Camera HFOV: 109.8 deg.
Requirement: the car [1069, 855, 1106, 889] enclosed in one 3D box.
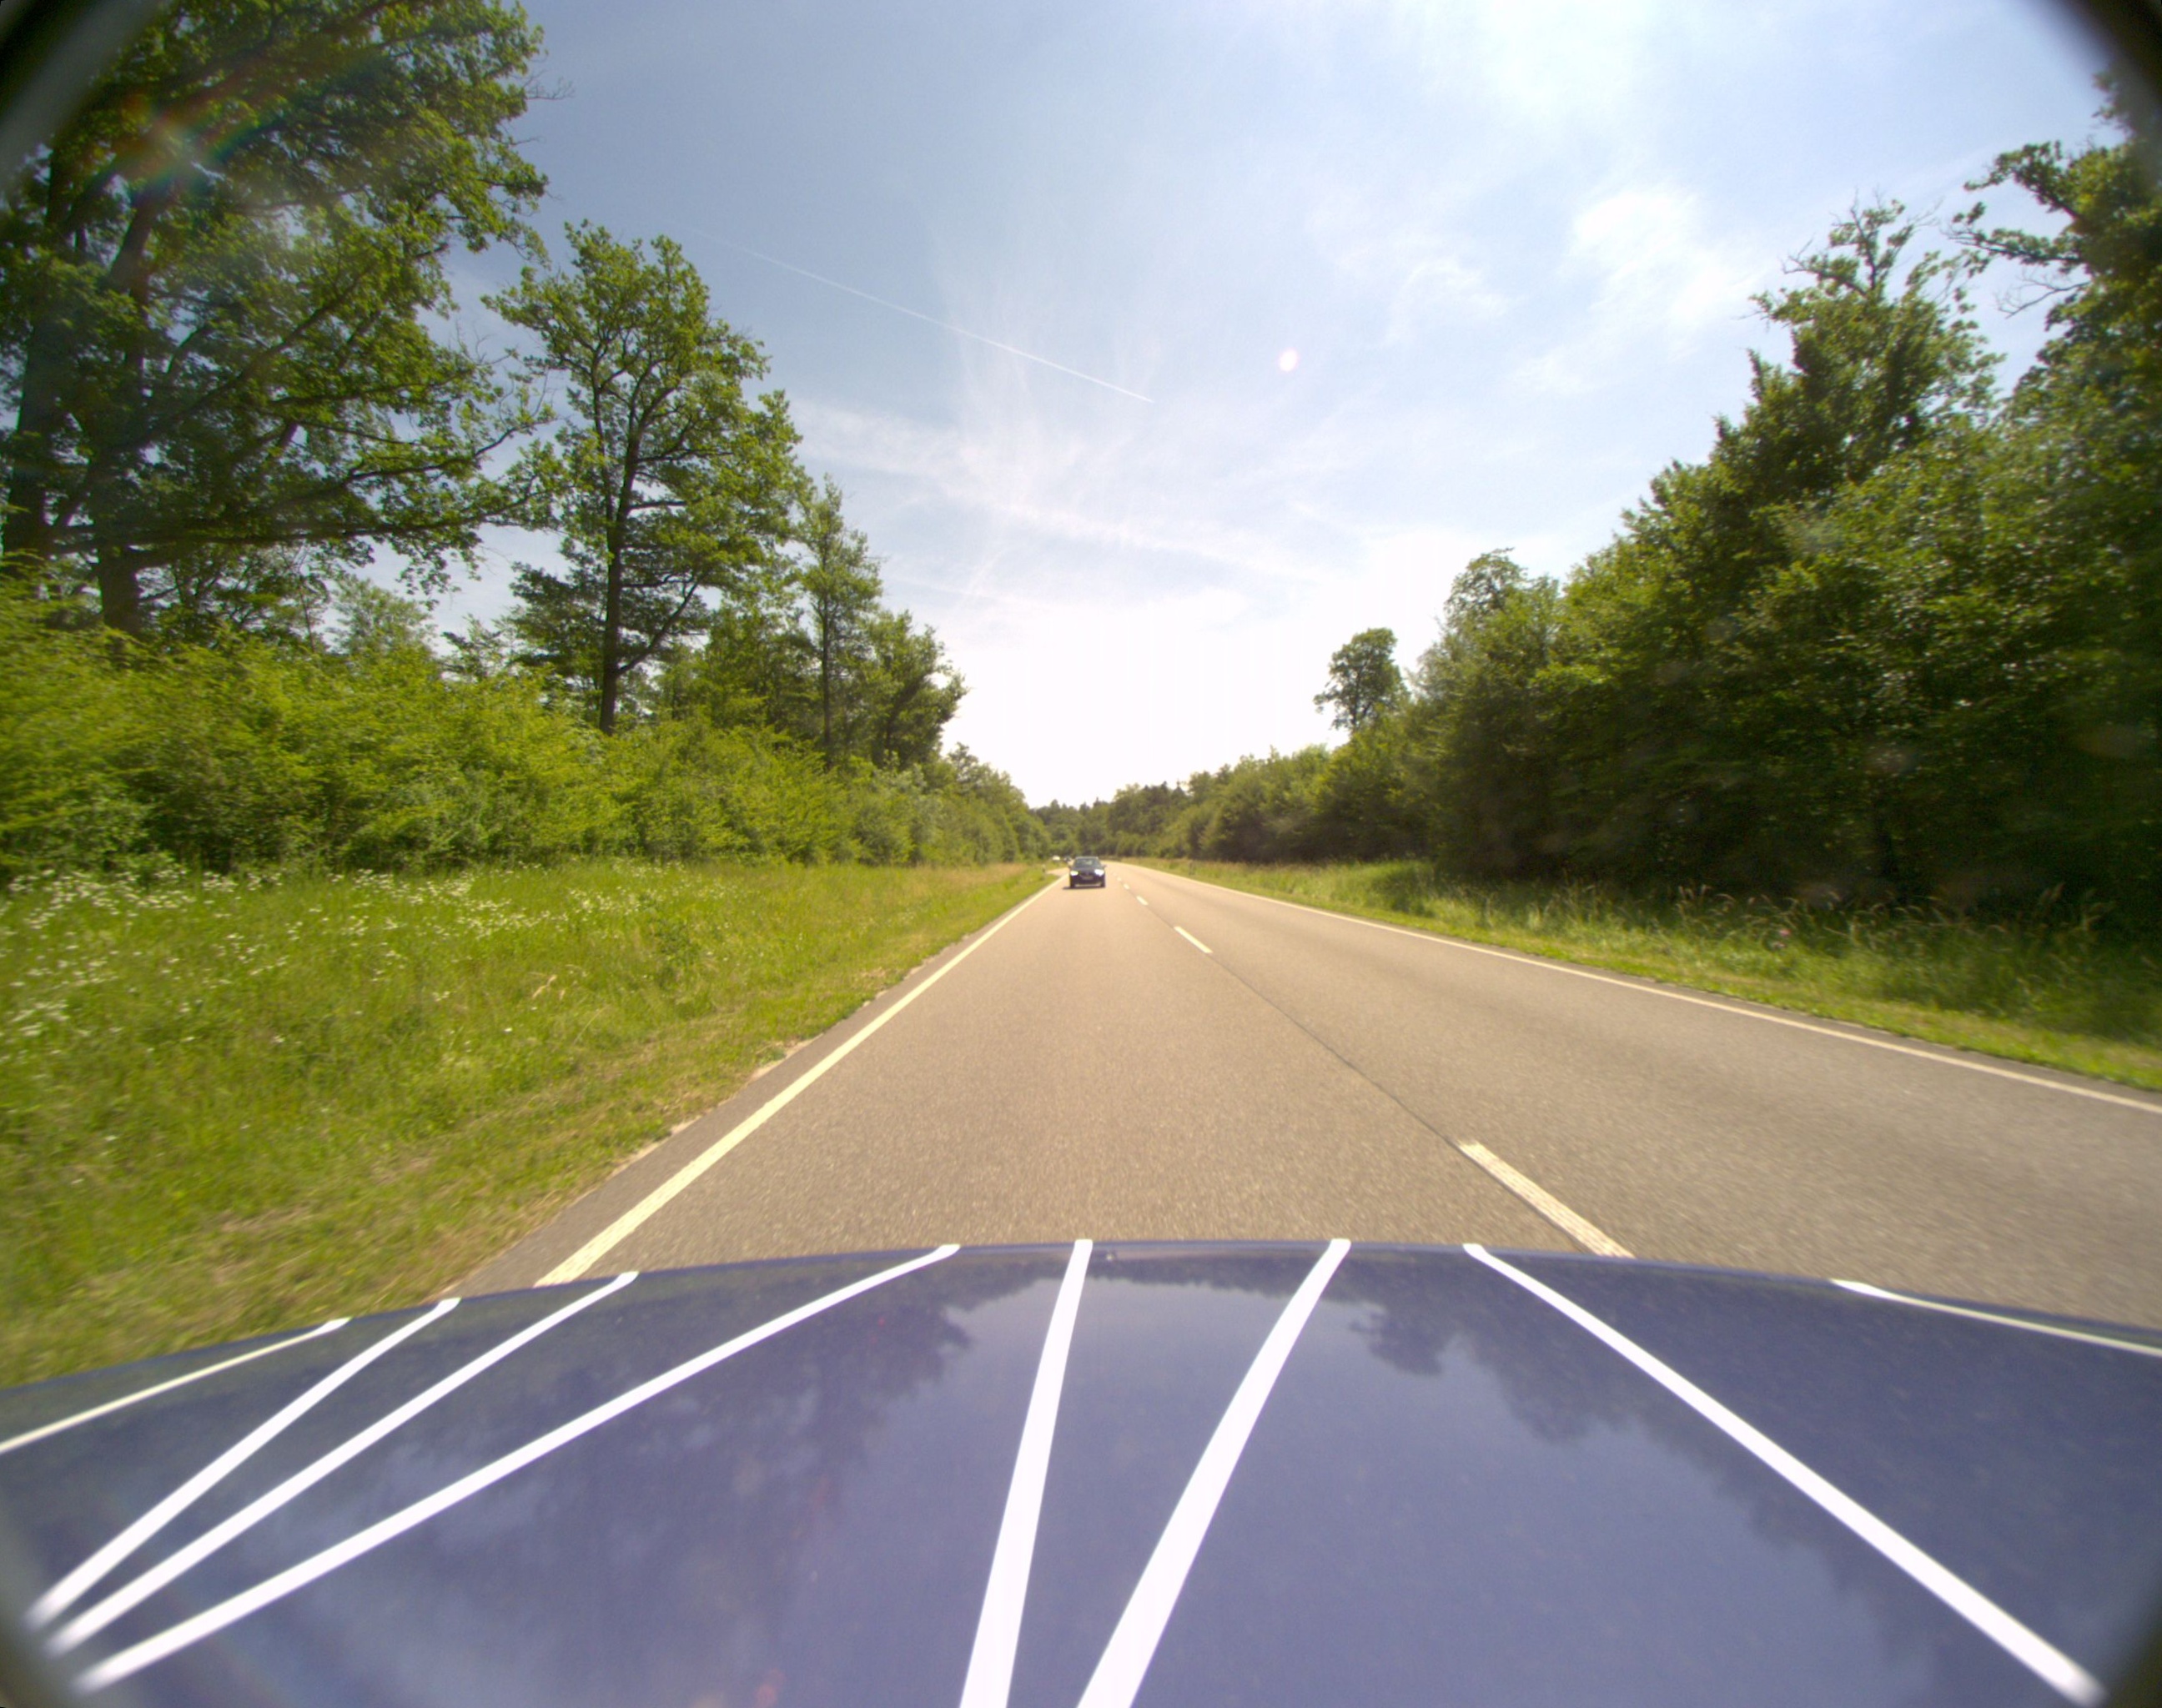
[{"bbox_3d":[0.335,0.869,38.190,1.713,1.516,4.242,-2,0,1],"label":"car"}]
